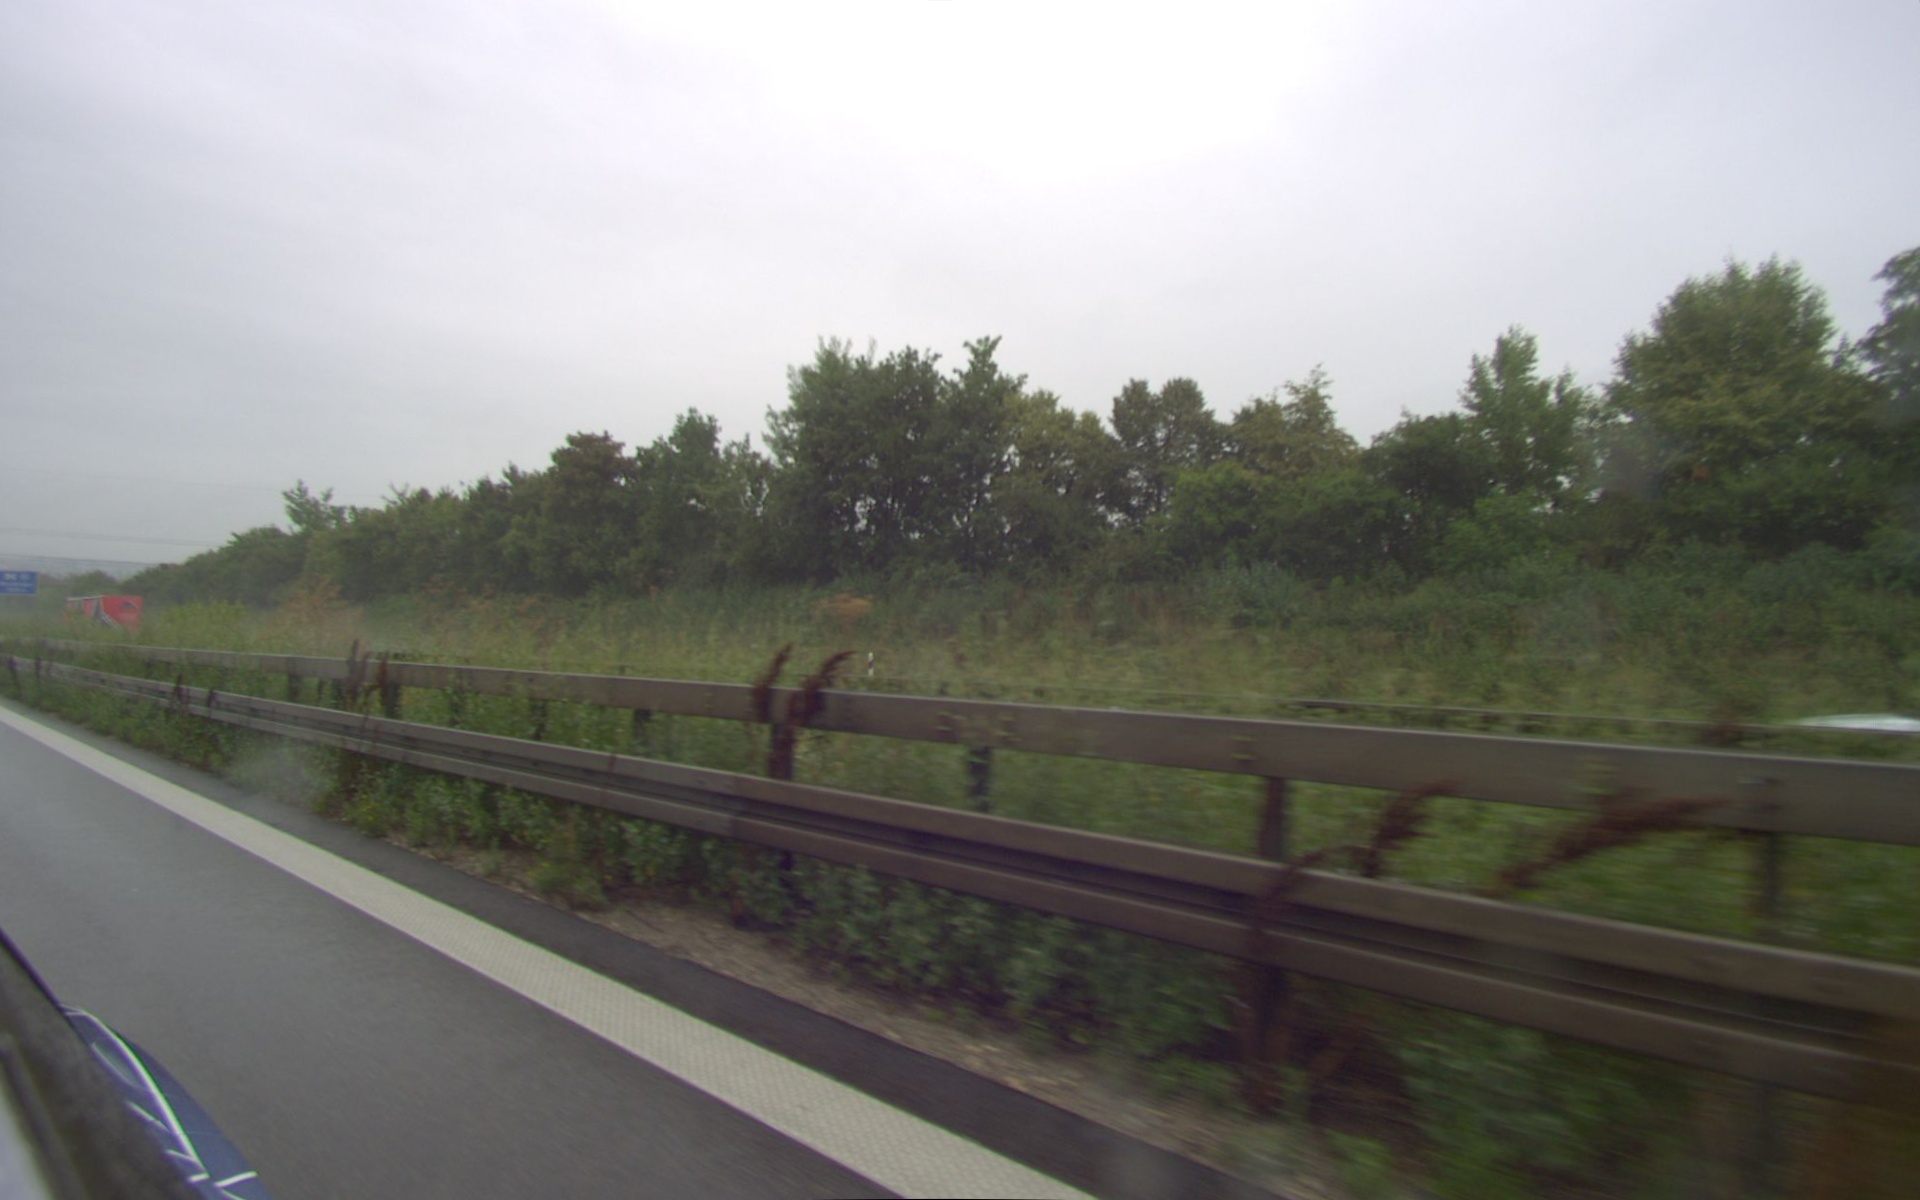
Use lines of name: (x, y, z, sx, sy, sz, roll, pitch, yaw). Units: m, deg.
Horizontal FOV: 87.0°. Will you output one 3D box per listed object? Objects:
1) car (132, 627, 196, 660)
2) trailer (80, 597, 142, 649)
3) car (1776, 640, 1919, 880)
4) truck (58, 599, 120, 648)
car: (-42.728, 2.314, 54.263, 4.956, 1.695, 1.777, -1, -3, 41)
trailer: (-71.926, 1.929, 85.662, 8.484, 4.262, 2.670, -1, -1, 41)
car: (9.657, 1.323, 8.088, 4.803, 1.911, 1.973, -1, -1, 41)
truck: (-79.435, 2.151, 92.165, 11.346, 4.262, 2.670, -1, -1, 41)
